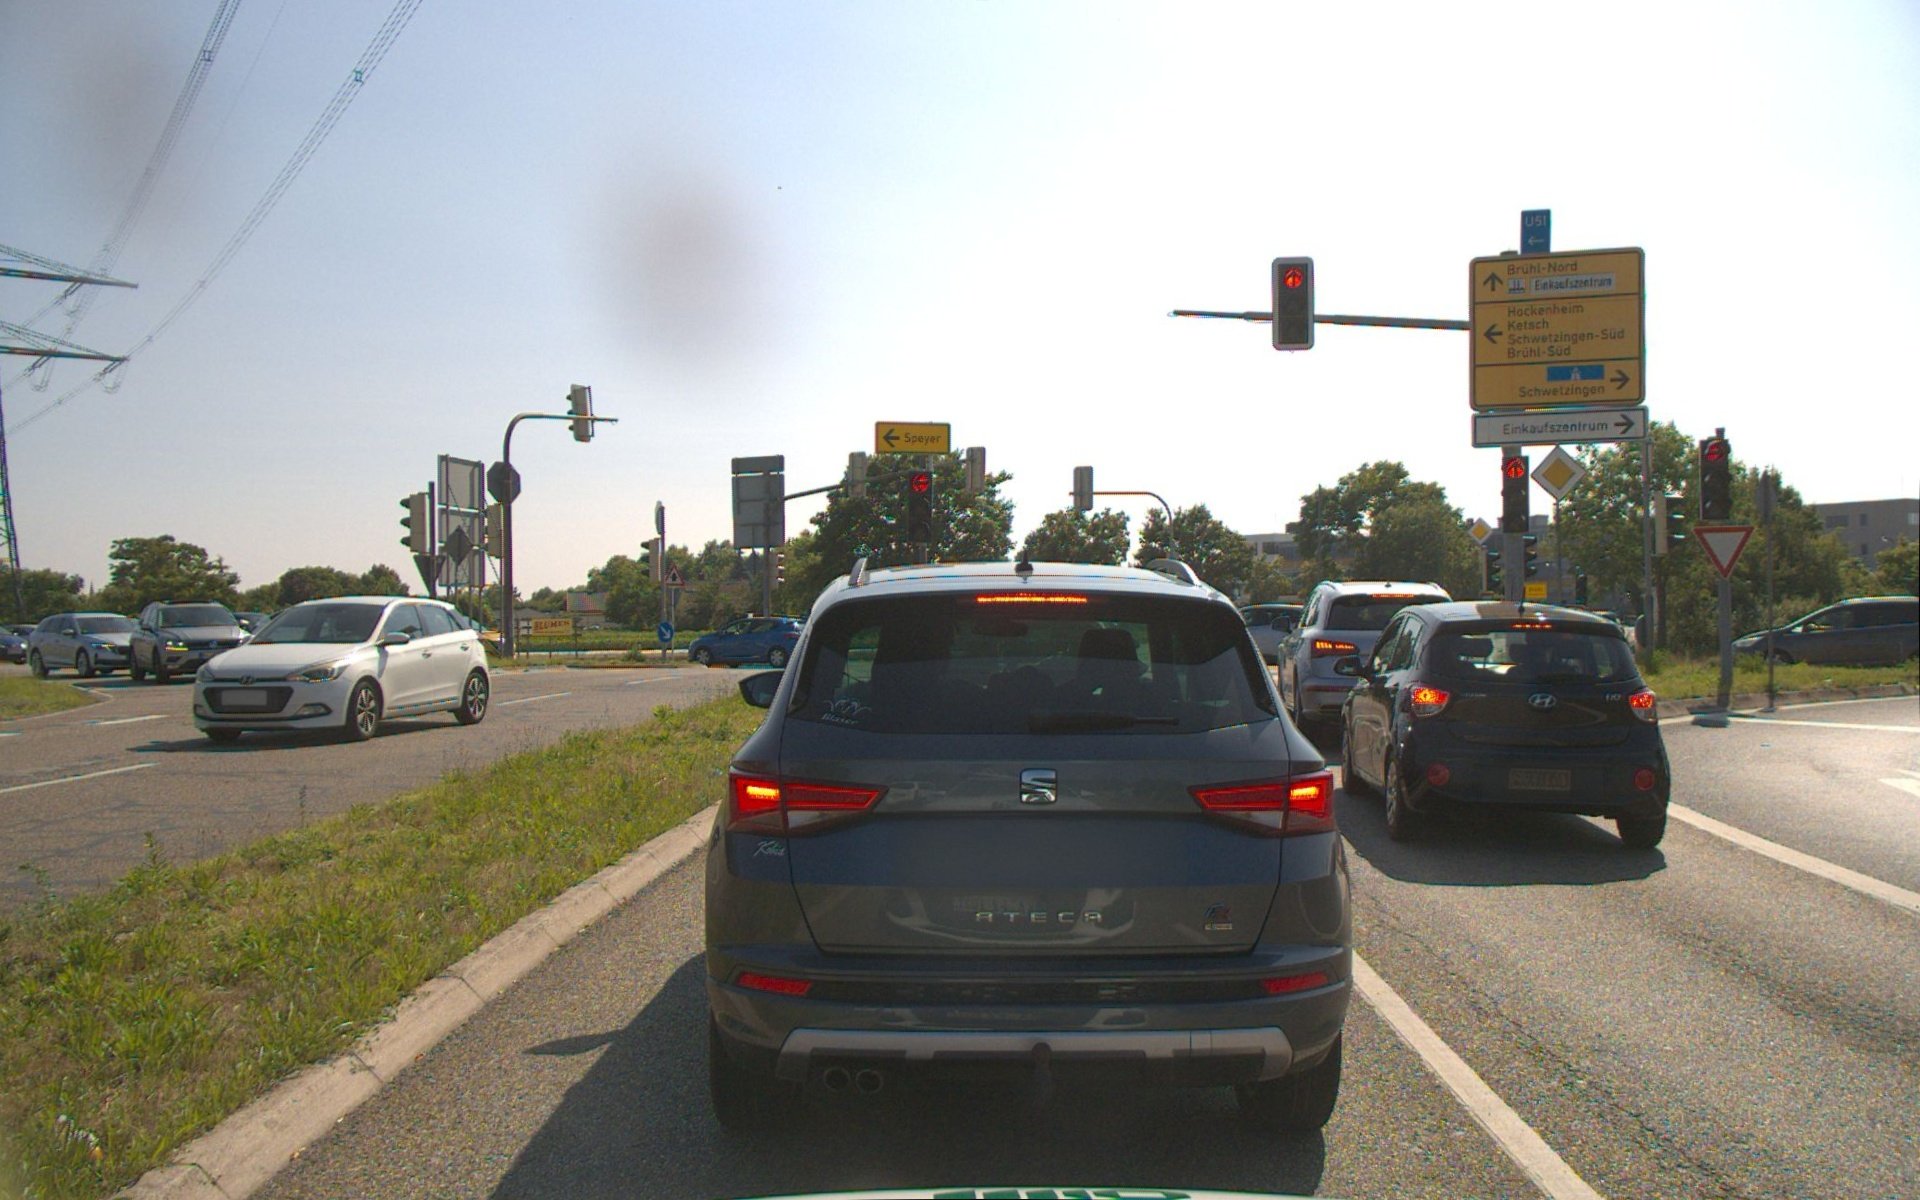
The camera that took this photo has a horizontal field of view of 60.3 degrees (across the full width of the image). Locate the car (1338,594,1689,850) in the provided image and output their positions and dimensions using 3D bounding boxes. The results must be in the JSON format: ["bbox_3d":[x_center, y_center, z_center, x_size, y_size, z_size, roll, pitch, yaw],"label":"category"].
[{"bbox_3d":[3.625,0.709,11.374,1.598,1.473,3.297,1,0,6],"label":"car"}]

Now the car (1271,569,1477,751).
[{"bbox_3d":[4.291,0.578,17.614,1.598,1.706,3.752,1,0,6],"label":"car"}]

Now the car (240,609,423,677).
[{"bbox_3d":[-16.312,1.075,42.880,4.654,1.680,1.818,0,-1,27],"label":"car"}]

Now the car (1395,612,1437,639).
[{"bbox_3d":[29.902,1.661,108.358,1.841,1.702,3.765,1,0,28],"label":"car"}]

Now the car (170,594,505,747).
[{"bbox_3d":[-6.639,0.690,18.127,1.681,1.490,3.915,0,0,10],"label":"car"}]

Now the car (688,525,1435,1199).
[{"bbox_3d":[0.216,0.654,5.647,1.706,1.596,3.623,1,0,-1],"label":"car"}]

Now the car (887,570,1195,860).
[{"bbox_3d":[0.462,0.658,11.137,1.706,1.596,3.624,1,0,0],"label":"car"}]

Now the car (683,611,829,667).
[{"bbox_3d":[-5.866,1.113,47.687,3.789,1.545,1.807,-1,0,23],"label":"car"}]

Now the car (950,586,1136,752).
[{"bbox_3d":[0.916,0.651,17.265,1.705,1.510,3.626,1,0,4],"label":"car"}]

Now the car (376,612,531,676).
[{"bbox_3d":[-13.886,1.180,45.321,3.910,1.680,1.818,-1,0,27],"label":"car"}]

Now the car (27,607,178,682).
[{"bbox_3d":[-20.400,1.030,39.321,3.924,1.680,1.811,-1,-1,39],"label":"car"}]

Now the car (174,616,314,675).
[{"bbox_3d":[-21.468,1.337,49.567,3.910,1.680,1.818,-1,0,27],"label":"car"}]

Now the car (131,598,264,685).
[{"bbox_3d":[-15.792,0.818,34.167,1.800,1.680,3.949,0,0,-36],"label":"car"}]

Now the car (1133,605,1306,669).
[{"bbox_3d":[6.502,0.916,41.517,3.944,1.545,1.806,-1,0,25],"label":"car"}]

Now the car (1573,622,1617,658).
[{"bbox_3d":[31.595,1.952,82.238,1.839,1.702,3.767,1,0,24],"label":"car"}]

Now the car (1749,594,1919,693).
[{"bbox_3d":[18.713,0.892,34.607,3.929,1.987,1.694,0,-1,27],"label":"car"}]

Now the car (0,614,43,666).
[{"bbox_3d":[-32.670,1.337,55.171,3.910,1.680,1.818,-1,0,27],"label":"car"}]
